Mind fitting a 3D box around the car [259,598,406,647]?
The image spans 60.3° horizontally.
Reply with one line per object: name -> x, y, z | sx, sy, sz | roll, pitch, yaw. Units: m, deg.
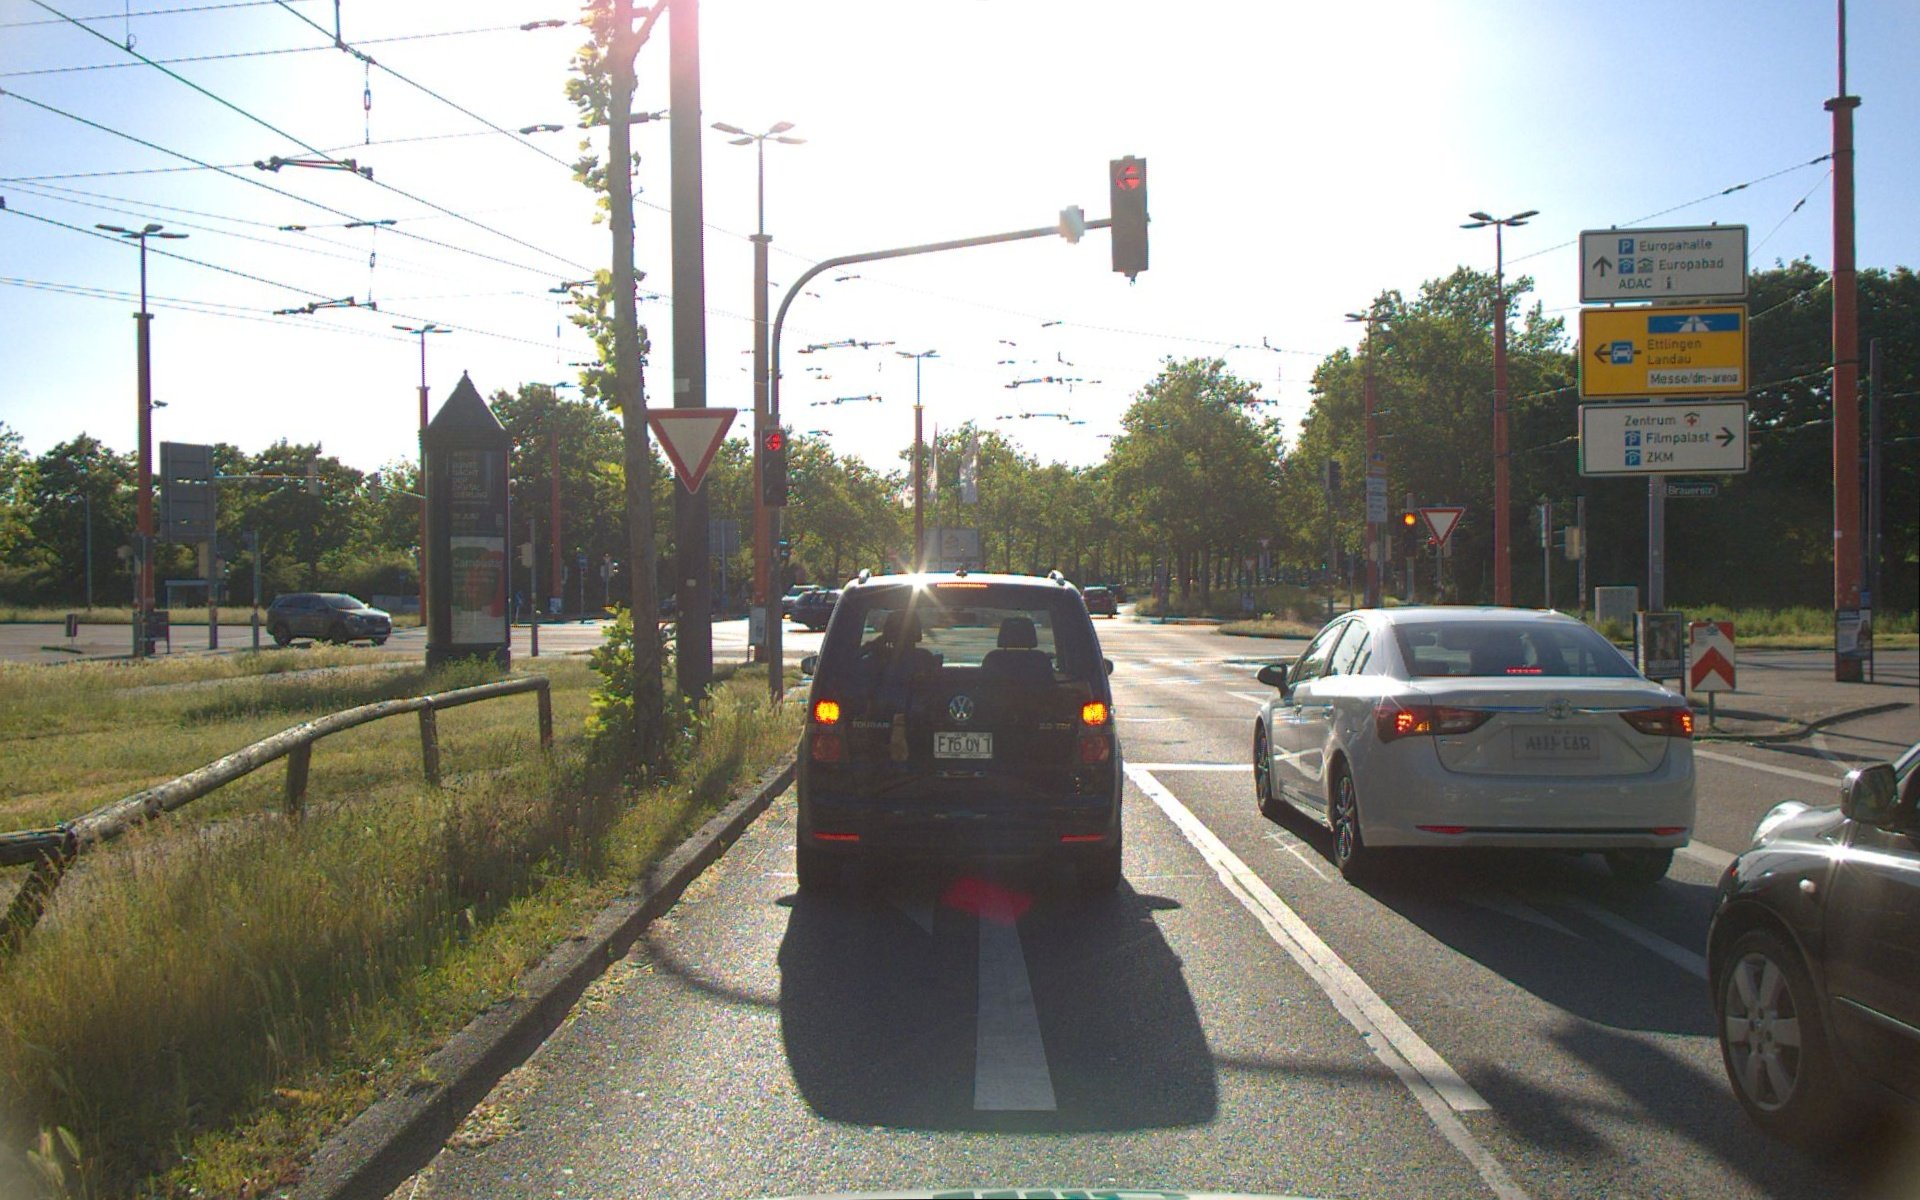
car -> -21.194, 0.740, 55.859 | 4.539, 1.570, 1.999 | 0, 0, 24

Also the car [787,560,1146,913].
car -> 0.004, 0.641, 9.880 | 1.702, 1.670, 3.999 | 0, 0, -1

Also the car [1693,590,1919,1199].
car -> 3.125, 0.741, 3.525 | 1.525, 1.532, 3.515 | 0, 0, -1

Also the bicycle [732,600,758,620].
bicycle -> -12.233, 0.566, 94.235 | 0.719, 1.109, 1.962 | 0, 0, 18

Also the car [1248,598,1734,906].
car -> 2.945, 0.738, 10.124 | 1.679, 1.480, 4.144 | 0, 0, 0

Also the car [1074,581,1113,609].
car -> 7.291, -0.273, 90.734 | 1.868, 1.489, 4.375 | 0, 1, 1

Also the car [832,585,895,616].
car -> -5.323, 0.023, 91.660 | 1.951, 1.714, 4.831 | 0, 0, 17

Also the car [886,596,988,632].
car -> -0.990, 0.579, 70.842 | 3.983, 1.489, 1.903 | 0, 0, -20

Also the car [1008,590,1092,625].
car -> 3.908, 0.304, 71.374 | 1.874, 1.489, 4.044 | 0, 0, 33

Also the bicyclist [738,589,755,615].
bicyclist -> -12.202, 0.091, 94.455 | 0.678, 1.483, 0.875 | 0, 0, 17

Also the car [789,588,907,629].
car -> -4.265, 0.309, 63.063 | 4.165, 1.489, 1.903 | 0, 0, -21
